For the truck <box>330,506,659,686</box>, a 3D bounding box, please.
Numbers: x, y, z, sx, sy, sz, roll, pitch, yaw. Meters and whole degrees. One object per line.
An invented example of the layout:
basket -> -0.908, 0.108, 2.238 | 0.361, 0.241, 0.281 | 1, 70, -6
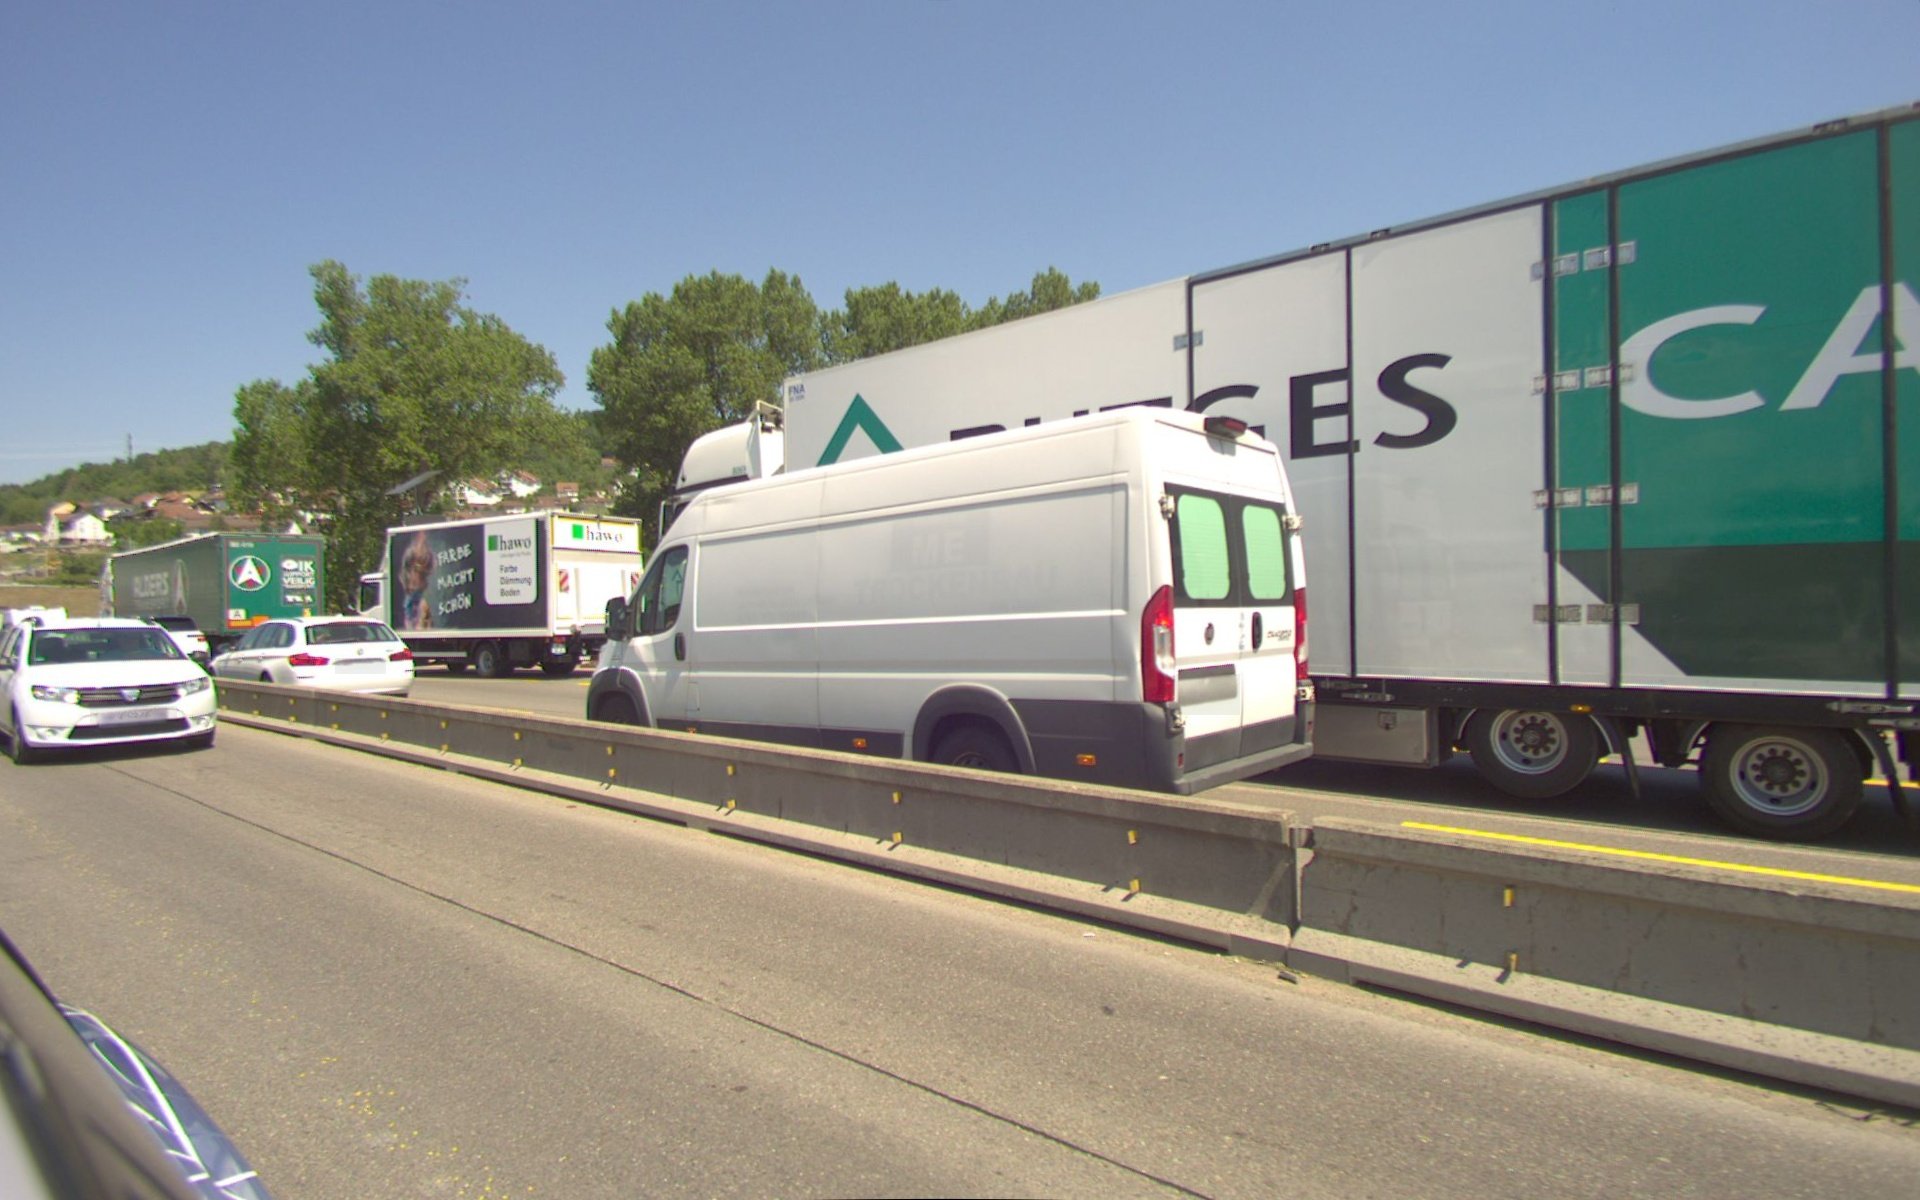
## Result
truck -> -11.448, 0.044, 24.616 | 8.332, 3.793, 2.885 | -3, 0, 30

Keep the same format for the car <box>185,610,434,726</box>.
car -> -10.498, 1.024, 16.179 | 4.971, 1.509, 1.973 | -3, 0, 41

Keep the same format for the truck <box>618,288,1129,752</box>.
truck -> -1.342, -0.681, 12.719 | 6.221, 4.426, 2.777 | -2, -1, 41

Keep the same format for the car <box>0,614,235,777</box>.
car -> -10.392, 1.003, 12.012 | 4.702, 1.542, 1.800 | -2, -1, 40

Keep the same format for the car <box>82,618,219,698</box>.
car -> -19.537, 1.363, 24.379 | 4.152, 1.659, 1.739 | -2, 1, 40

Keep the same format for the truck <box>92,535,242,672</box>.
truck -> -29.268, 0.197, 37.241 | 7.099, 4.571, 3.046 | -2, -1, 41

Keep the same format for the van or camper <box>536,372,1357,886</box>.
van or camper -> -0.619, 0.224, 7.938 | 6.528, 2.530, 2.196 | -3, 0, 40

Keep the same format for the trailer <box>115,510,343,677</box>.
trailer -> -23.904, 0.038, 32.618 | 13.011, 4.499, 3.070 | -2, -2, 41

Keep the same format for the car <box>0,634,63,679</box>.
car -> -35.343, 2.112, 38.018 | 4.604, 1.470, 1.846 | -2, 1, 41

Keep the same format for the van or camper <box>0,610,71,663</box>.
van or camper -> -50.099, 1.967, 54.658 | 5.240, 2.719, 2.478 | -2, -1, 41

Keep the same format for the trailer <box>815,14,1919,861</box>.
trailer -> 4.290, -0.825, 7.842 | 13.160, 4.464, 2.786 | -1, -1, 41
